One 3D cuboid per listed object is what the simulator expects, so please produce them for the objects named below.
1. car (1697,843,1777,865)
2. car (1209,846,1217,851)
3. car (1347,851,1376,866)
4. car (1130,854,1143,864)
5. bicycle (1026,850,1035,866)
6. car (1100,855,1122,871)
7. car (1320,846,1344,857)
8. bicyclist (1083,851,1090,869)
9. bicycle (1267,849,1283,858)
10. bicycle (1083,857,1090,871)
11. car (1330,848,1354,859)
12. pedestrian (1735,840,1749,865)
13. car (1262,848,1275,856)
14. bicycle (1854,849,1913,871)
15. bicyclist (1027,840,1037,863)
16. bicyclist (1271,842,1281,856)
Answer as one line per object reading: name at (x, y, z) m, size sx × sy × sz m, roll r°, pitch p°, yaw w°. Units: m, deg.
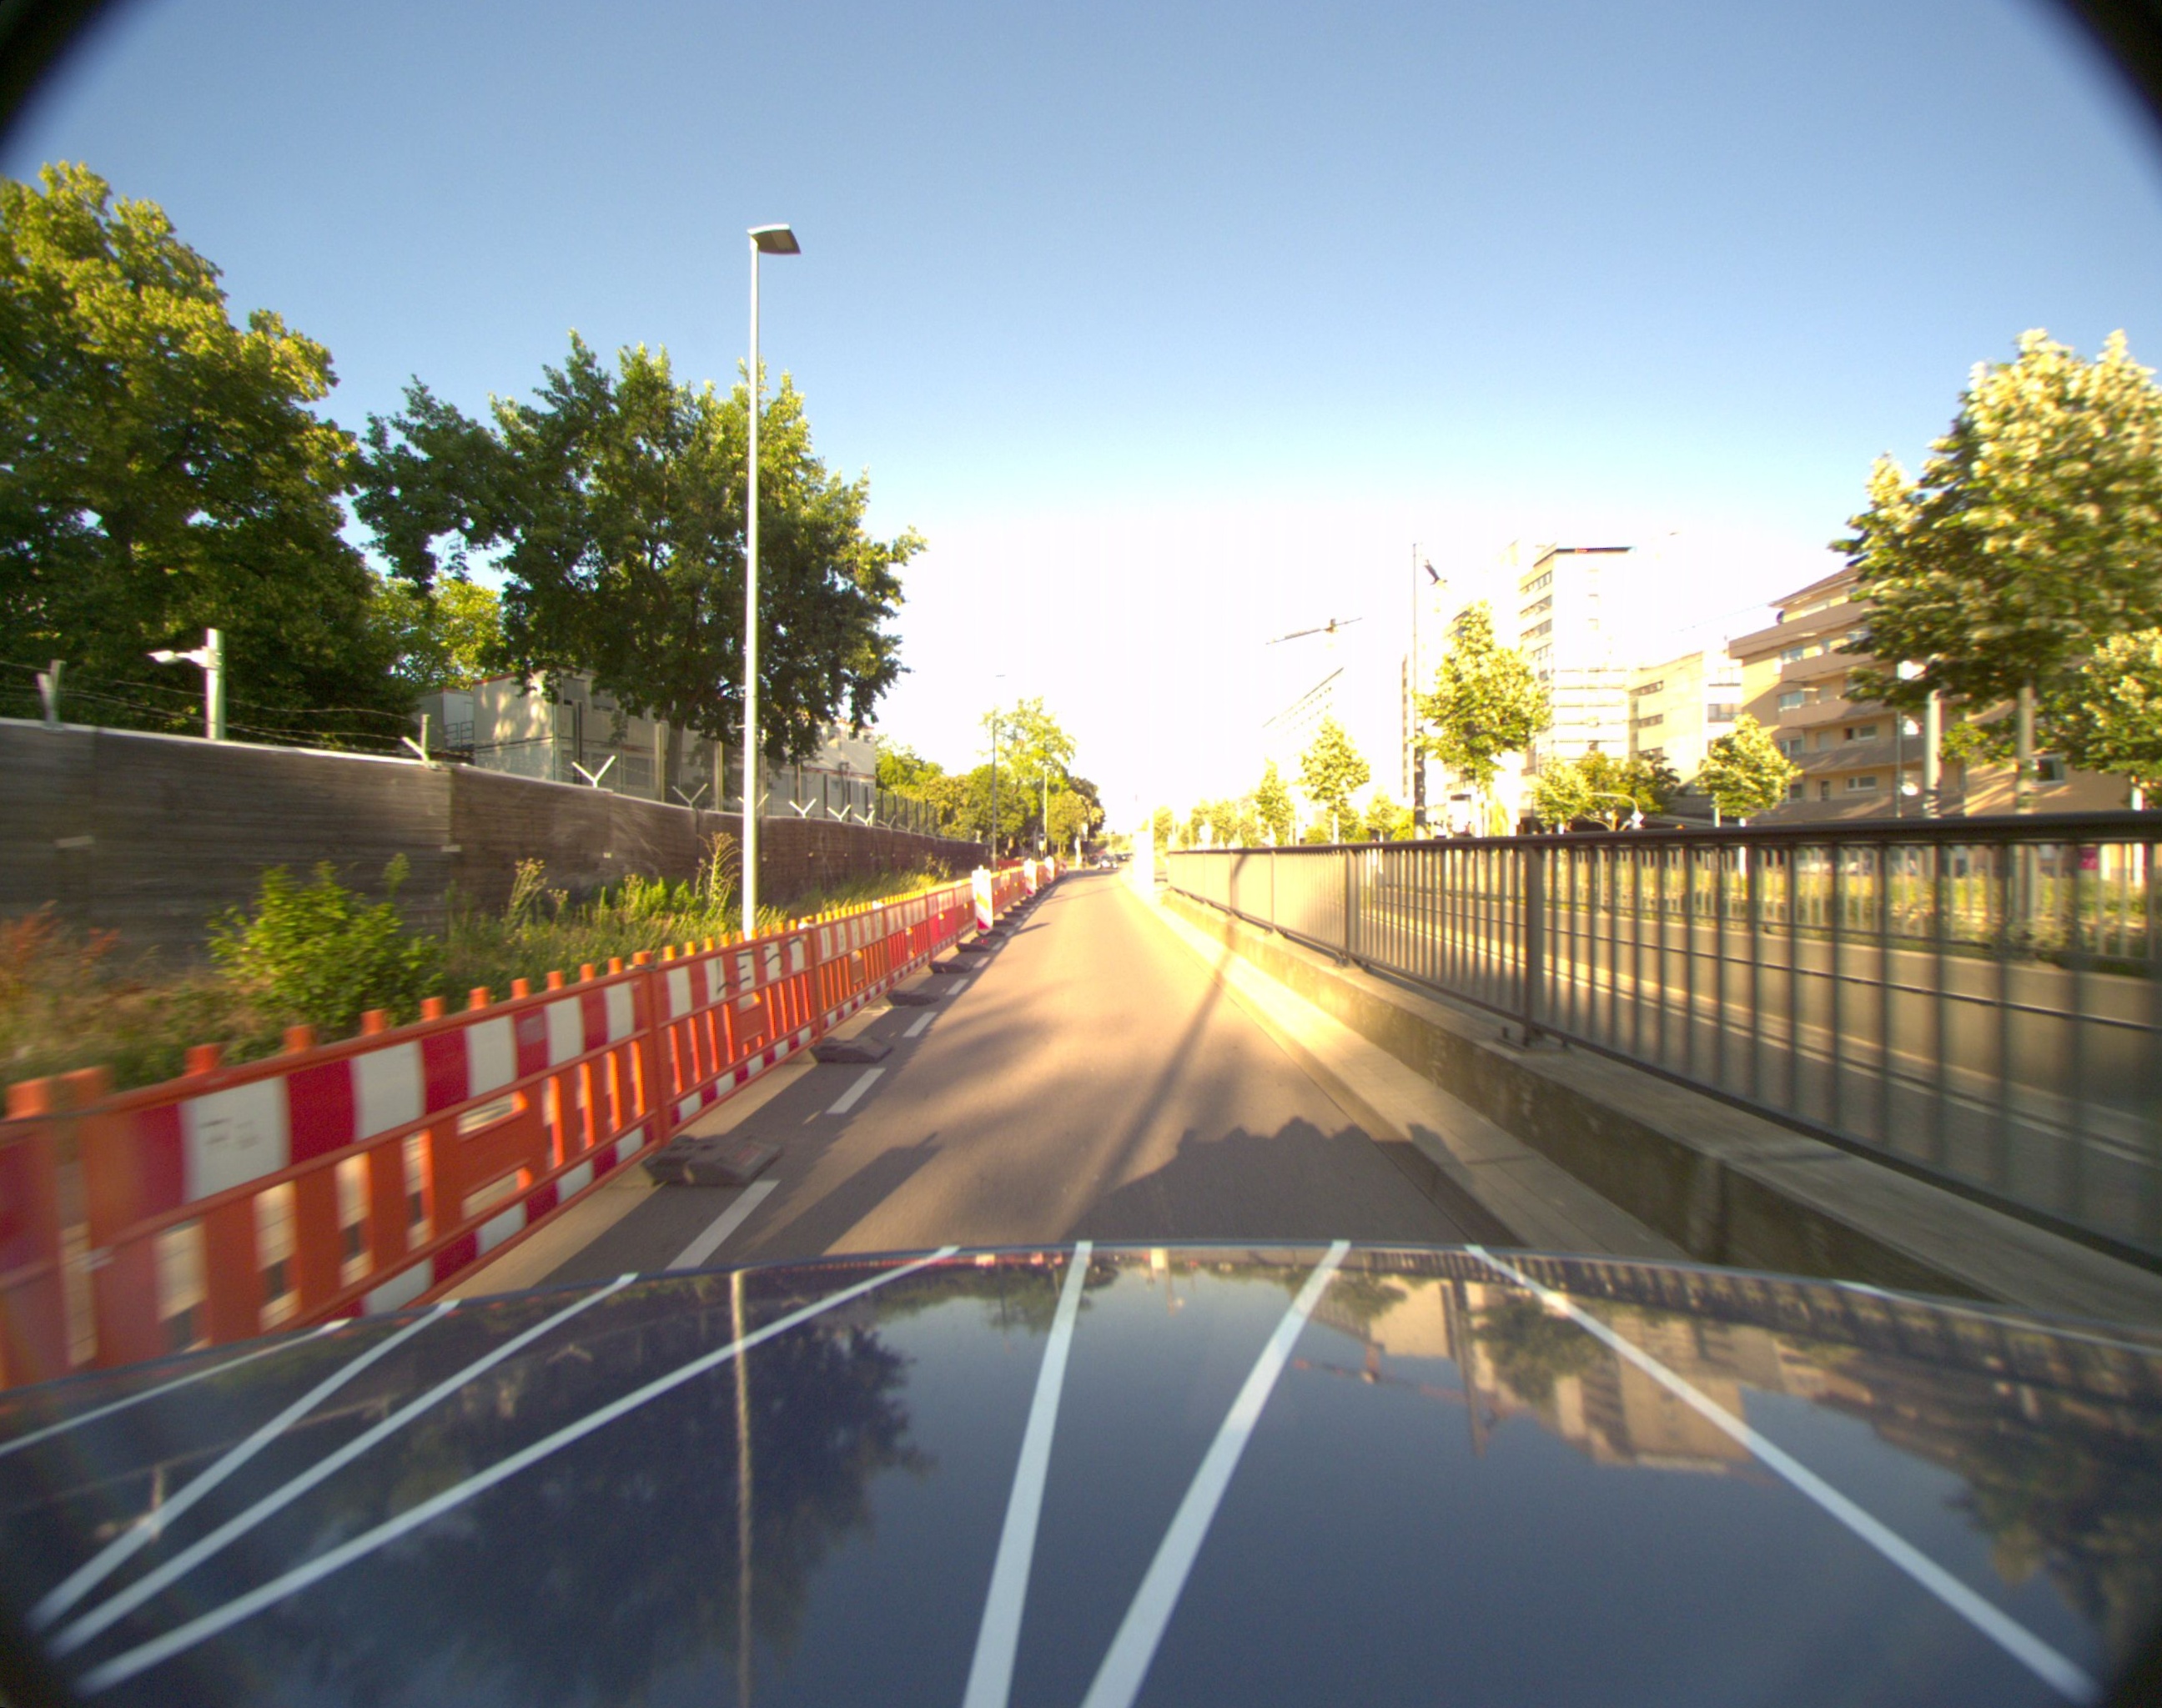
car at (46.112, 0.006, 53.485) m, size 3.997 × 1.487 × 1.847 m, roll 0°, pitch 0°, yaw 1°
car at (44.194, -1.803, 254.593) m, size 1.874 × 1.579 × 4.639 m, roll -2°, pitch 1°, yaw 2°
car at (37.011, 0.588, 100.297) m, size 4.204 × 1.681 × 1.617 m, roll -3°, pitch 1°, yaw -39°
car at (7.740, 0.674, 106.445) m, size 1.591 × 1.449 × 4.000 m, roll -1°, pitch 0°, yaw 2°
bicycle at (-3.480, 0.288, 52.626) m, size 0.428 × 1.055 × 1.911 m, roll -1°, pitch 1°, yaw 2°
car at (2.825, 0.829, 71.977) m, size 1.998 × 1.346 × 4.000 m, roll -1°, pitch 1°, yaw 2°
car at (37.264, -0.374, 112.750) m, size 3.808 × 1.436 × 1.785 m, roll -3°, pitch 1°, yaw -43°
bicyclist at (0.416, 0.464, 57.995) m, size 0.516 × 1.399 × 0.805 m, roll -1°, pitch 1°, yaw 1°
bicycle at (19.795, -0.069, 77.452) m, size 0.507 × 0.886 × 2.027 m, roll -1°, pitch 1°, yaw -22°
bicycle at (0.410, 0.773, 57.892) m, size 0.506 × 1.018 × 1.505 m, roll -1°, pitch 1°, yaw 2°
car at (37.678, -0.071, 109.562) m, size 3.800 × 1.436 × 1.617 m, roll -3°, pitch 1°, yaw -42°
pedestrian at (42.122, -0.084, 48.427) m, size 0.448 × 1.547 × 0.521 m, roll -1°, pitch 1°, yaw 1°
car at (38.416, -0.444, 155.642) m, size 1.874 × 1.458 × 3.389 m, roll -2°, pitch 1°, yaw 2°
bicycle at (43.763, 0.307, 41.468) m, size 0.532 × 1.130 × 2.586 m, roll -1°, pitch 0°, yaw 2°
bicyclist at (-3.371, -0.177, 52.577) m, size 0.585 × 1.605 × 0.903 m, roll -1°, pitch 1°, yaw 1°
bicyclist at (19.768, -0.472, 77.108) m, size 0.737 × 1.386 × 0.715 m, roll -1°, pitch 1°, yaw -23°
